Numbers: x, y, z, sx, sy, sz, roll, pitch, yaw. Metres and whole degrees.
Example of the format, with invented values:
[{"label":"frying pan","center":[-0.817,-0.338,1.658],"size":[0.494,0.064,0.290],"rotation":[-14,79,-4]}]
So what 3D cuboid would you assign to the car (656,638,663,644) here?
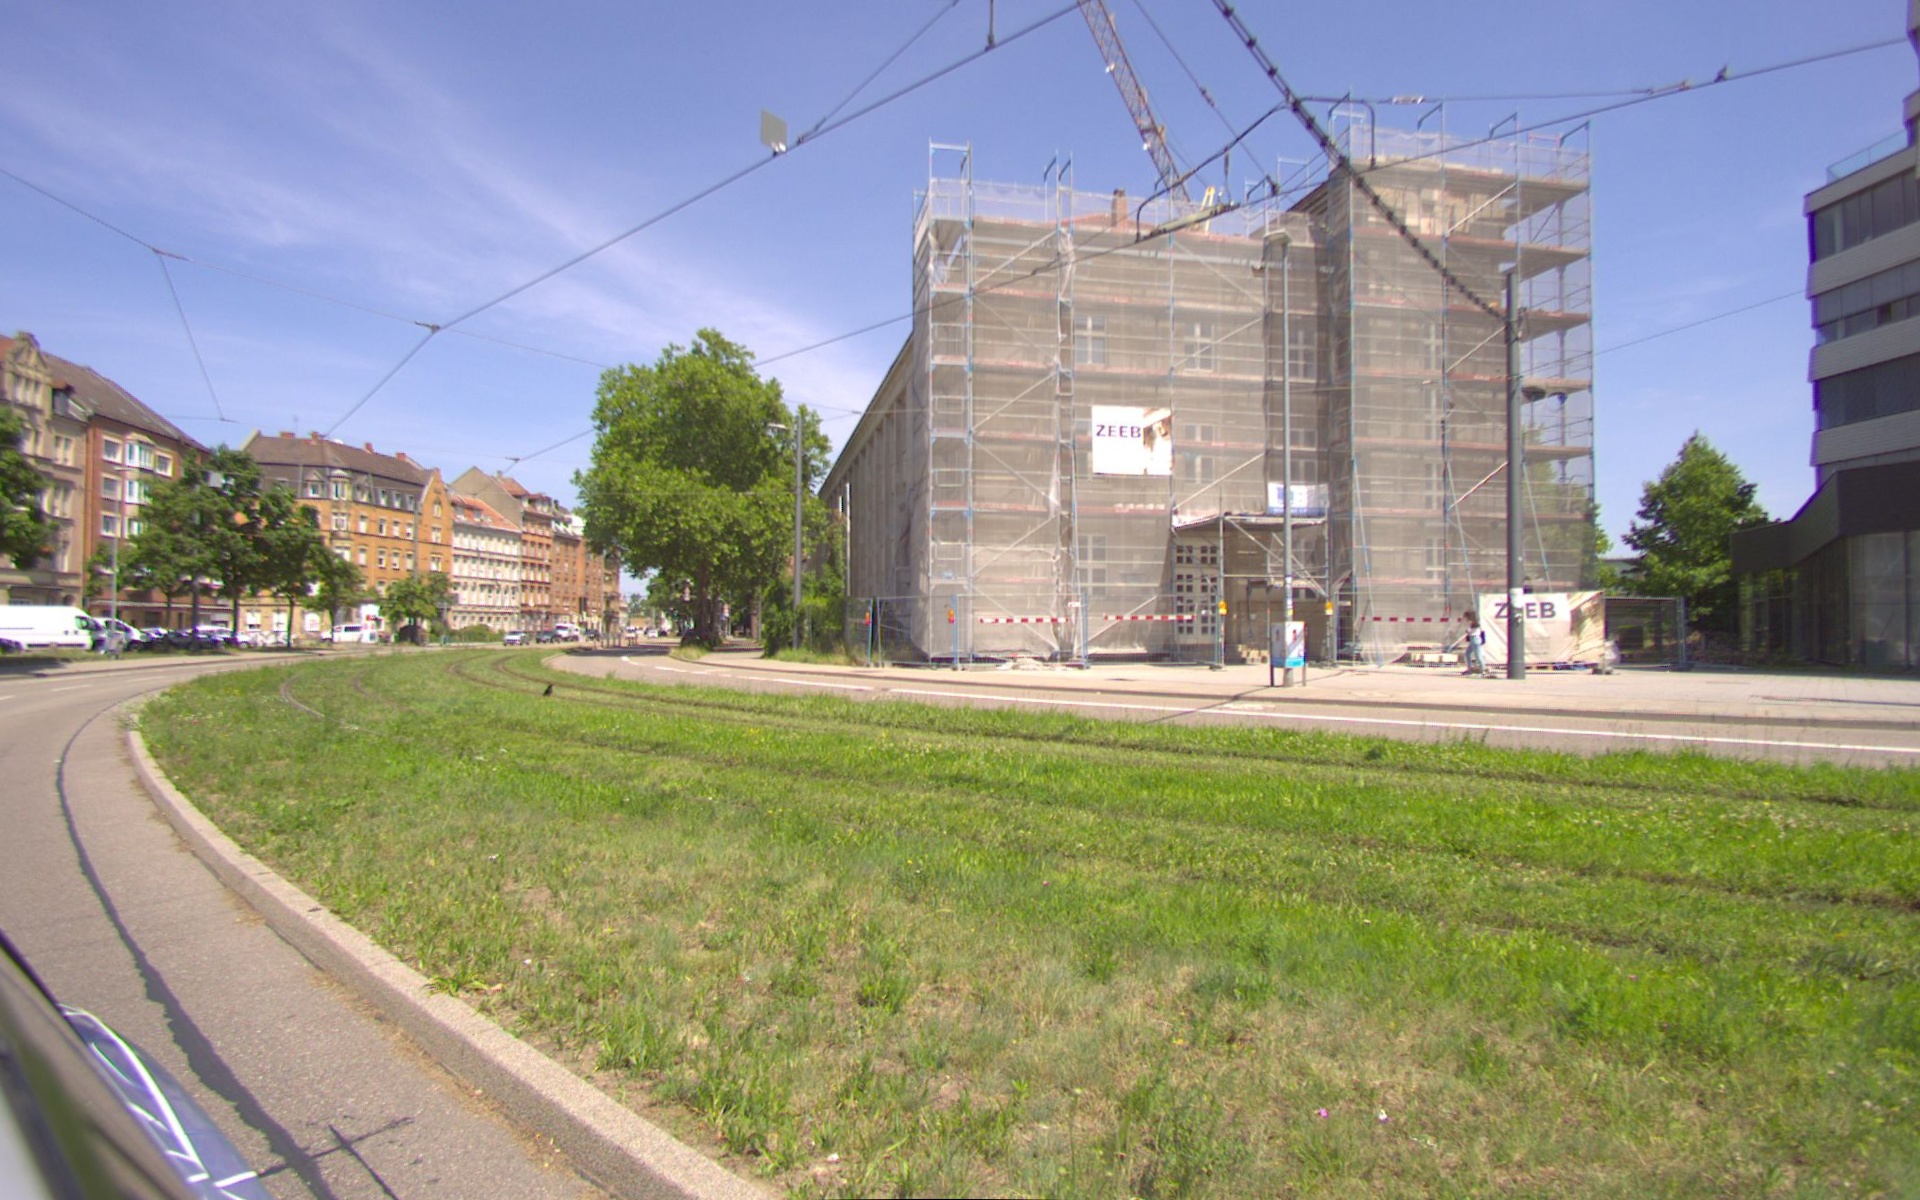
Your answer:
[{"label":"car","center":[-73.403,10.014,247.191],"size":[1.722,1.405,4.359],"rotation":[-3,-1,-16]}]

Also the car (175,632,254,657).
[{"label":"car","center":[-47.348,2.821,64.344],"size":[3.933,1.410,1.828],"rotation":[0,-2,-34]}]

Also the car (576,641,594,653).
[{"label":"car","center":[-48.668,6.085,131.453],"size":[1.771,1.586,4.010],"rotation":[-1,-2,-14]}]

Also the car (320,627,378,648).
[{"label":"car","center":[-60.895,3.783,100.973],"size":[4.770,1.953,2.174],"rotation":[-1,-2,-26]}]

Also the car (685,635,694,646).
[{"label":"car","center":[-57.568,8.600,215.206],"size":[1.791,2.314,3.772],"rotation":[-1,-2,-15]}]

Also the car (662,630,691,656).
[{"label":"car","center":[-17.153,2.592,61.138],"size":[1.566,1.434,4.336],"rotation":[-1,-2,-16]}]

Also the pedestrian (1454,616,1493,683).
[{"label":"pedestrian","center":[12.013,1.162,23.688],"size":[0.573,1.530,0.589],"rotation":[-1,-2,1]}]

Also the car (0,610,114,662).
[{"label":"car","center":[-45.921,1.789,50.423],"size":[2.237,2.479,5.476],"rotation":[-3,-2,41]}]

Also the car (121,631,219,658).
[{"label":"car","center":[-47.411,2.668,60.858],"size":[4.557,1.508,1.970],"rotation":[0,-2,-37]}]

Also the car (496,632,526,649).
[{"label":"car","center":[-42.970,3.871,96.953],"size":[1.772,1.586,4.009],"rotation":[-1,-2,-11]}]

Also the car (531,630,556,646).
[{"label":"car","center":[-44.989,4.082,109.288],"size":[1.772,1.586,4.009],"rotation":[-1,-2,-11]}]

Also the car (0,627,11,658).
[{"label":"car","center":[-43.559,1.866,43.114],"size":[1.971,1.349,4.372],"rotation":[-3,-2,40]}]

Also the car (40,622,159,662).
[{"label":"car","center":[-46.136,2.252,54.359],"size":[4.773,1.988,2.079],"rotation":[0,-2,-42]}]

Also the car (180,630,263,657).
[{"label":"car","center":[-48.823,2.843,67.002],"size":[4.339,1.644,2.005],"rotation":[0,-2,-35]}]
